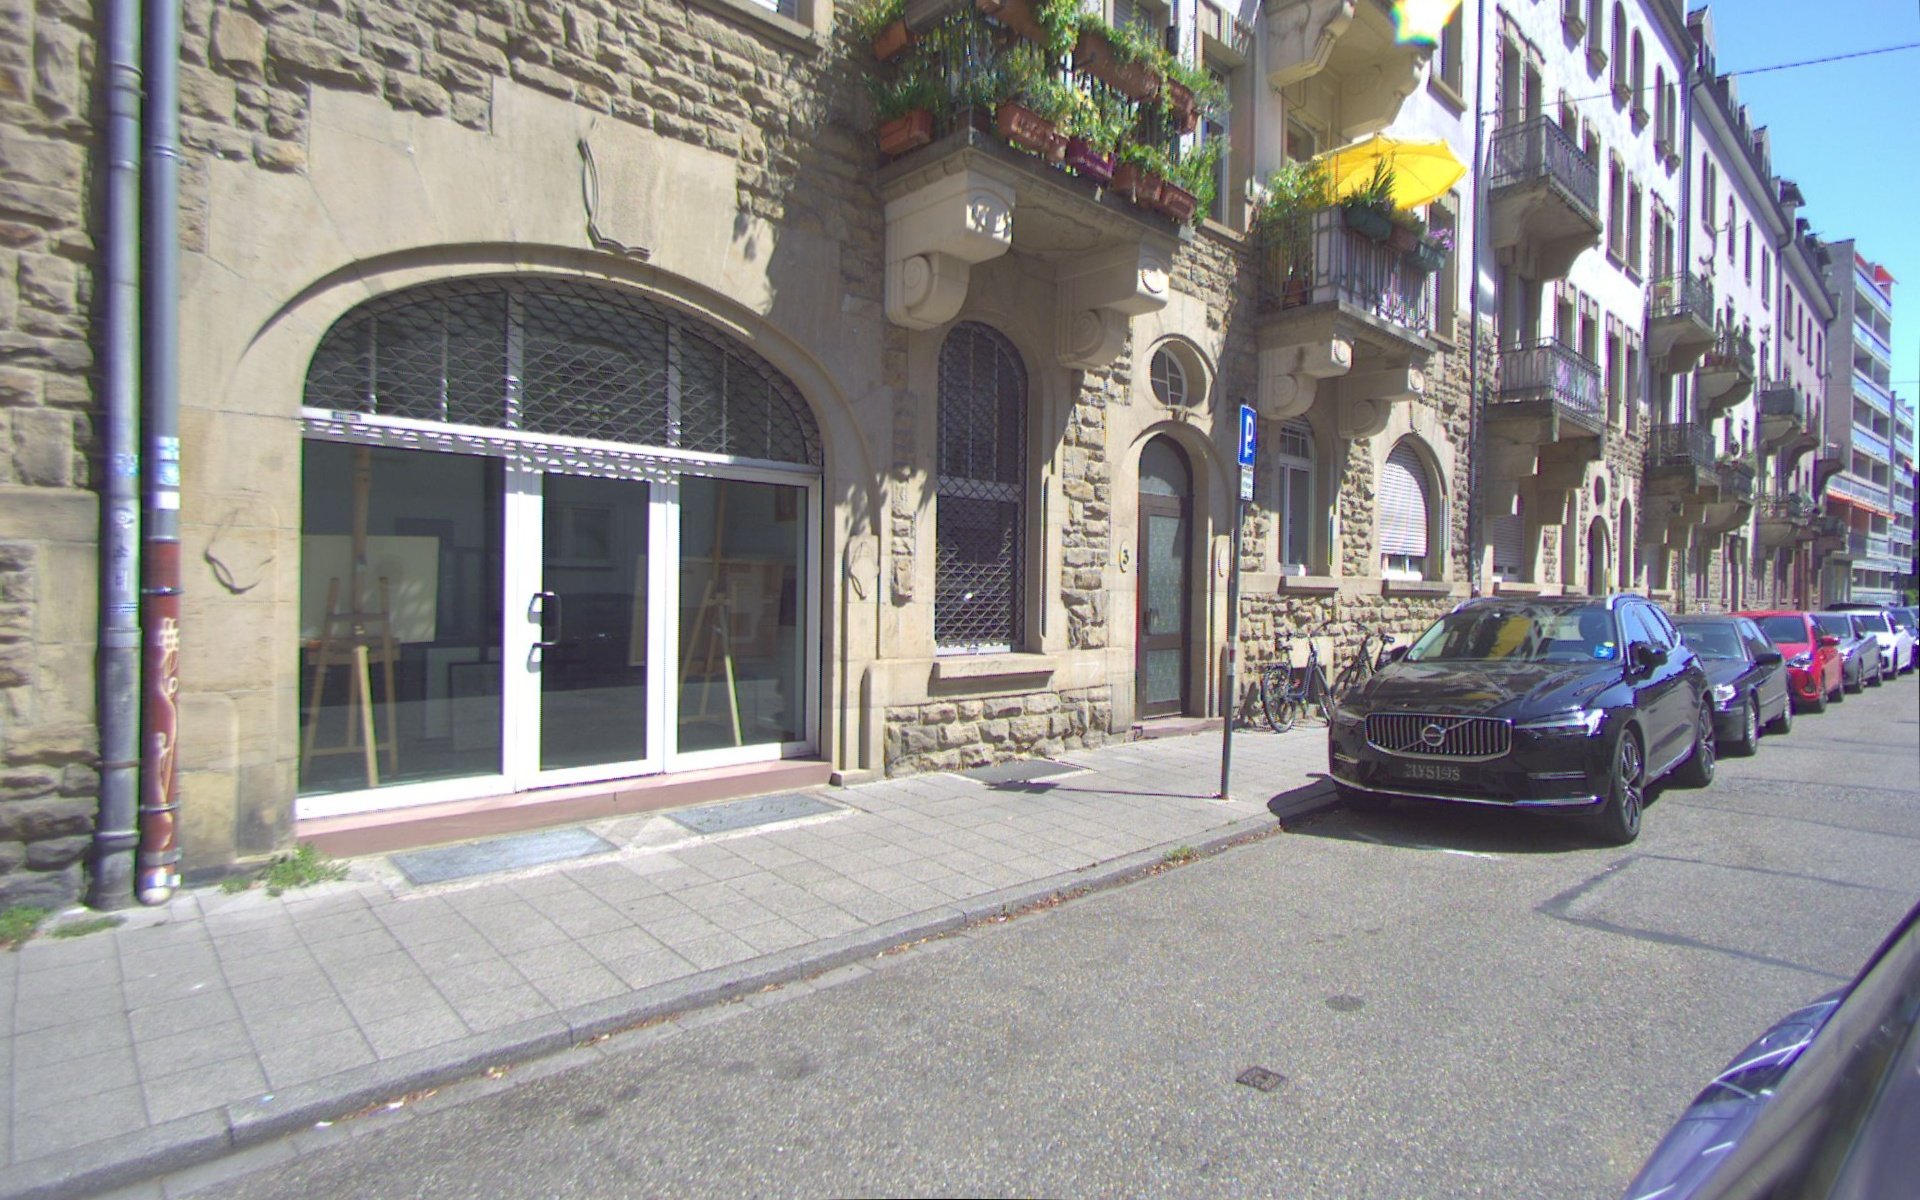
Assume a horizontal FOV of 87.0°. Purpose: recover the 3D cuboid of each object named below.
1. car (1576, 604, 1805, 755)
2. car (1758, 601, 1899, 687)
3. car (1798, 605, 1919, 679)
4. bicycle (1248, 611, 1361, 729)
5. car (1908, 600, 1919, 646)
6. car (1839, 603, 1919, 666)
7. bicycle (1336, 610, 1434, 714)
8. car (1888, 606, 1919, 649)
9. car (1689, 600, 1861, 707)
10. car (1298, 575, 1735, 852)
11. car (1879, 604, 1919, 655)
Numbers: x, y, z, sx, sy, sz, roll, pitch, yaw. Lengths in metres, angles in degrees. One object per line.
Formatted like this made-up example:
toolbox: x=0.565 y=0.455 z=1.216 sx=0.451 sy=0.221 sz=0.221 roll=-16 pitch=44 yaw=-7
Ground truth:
car: x=8.397 y=0.769 z=11.500 sx=1.512 sy=1.416 sz=3.908 roll=-2 pitch=-1 yaw=45
car: x=16.684 y=0.779 z=19.388 sx=3.791 sy=1.471 sz=1.591 roll=0 pitch=-1 yaw=-43
car: x=20.501 y=0.879 z=22.827 sx=4.516 sy=1.471 sz=1.719 roll=0 pitch=-1 yaw=-41
bicycle: x=3.904 y=0.746 z=11.404 sx=1.744 sy=1.223 sz=0.385 roll=0 pitch=1 yaw=-42
car: x=36.648 y=0.841 z=37.483 sx=4.017 sy=1.642 sz=1.652 roll=0 pitch=1 yaw=-39
car: x=24.508 y=0.845 z=26.517 sx=4.590 sy=1.476 sz=1.739 roll=0 pitch=2 yaw=-43
bicycle: x=5.476 y=0.758 z=12.983 sx=1.744 sy=1.223 sz=0.442 roll=0 pitch=1 yaw=-42
car: x=32.884 y=0.935 z=34.259 sx=4.278 sy=1.375 sz=1.789 roll=1 pitch=1 yaw=-43
car: x=12.824 y=0.755 z=15.845 sx=3.778 sy=1.471 sz=1.572 roll=0 pitch=-1 yaw=-43
car: x=4.639 y=0.661 z=8.077 sx=4.530 sy=1.587 sz=1.833 roll=0 pitch=-1 yaw=-45
car: x=28.926 y=0.847 z=30.366 sx=1.824 sy=1.450 sz=4.417 roll=0 pitch=0 yaw=45
